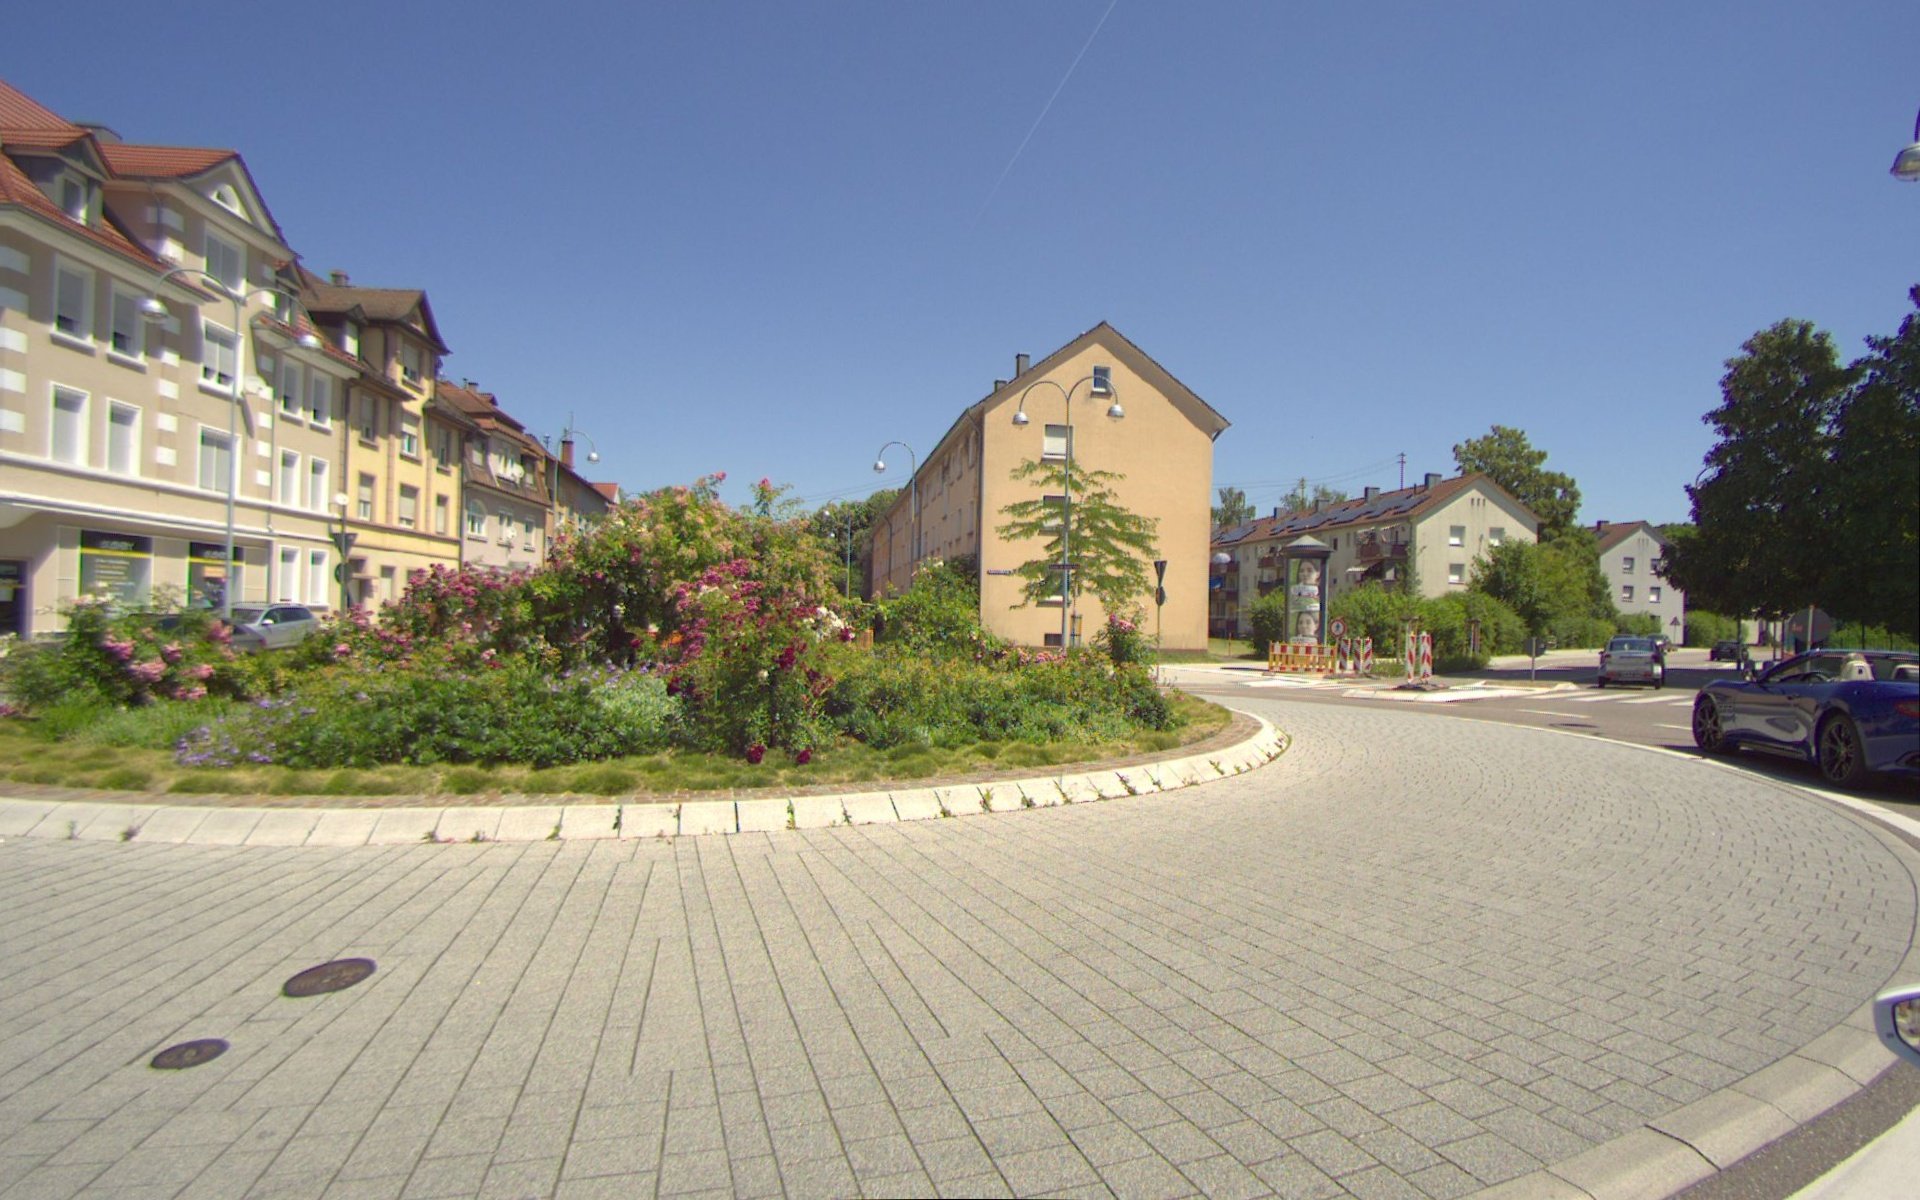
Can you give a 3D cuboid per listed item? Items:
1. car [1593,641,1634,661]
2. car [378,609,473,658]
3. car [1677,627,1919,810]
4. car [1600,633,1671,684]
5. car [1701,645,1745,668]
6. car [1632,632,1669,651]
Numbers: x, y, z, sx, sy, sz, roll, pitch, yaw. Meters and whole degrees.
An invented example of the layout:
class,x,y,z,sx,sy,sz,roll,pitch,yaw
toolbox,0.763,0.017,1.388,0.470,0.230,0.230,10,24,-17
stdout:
class,x,y,z,sx,sy,sz,roll,pitch,yaw
car,48.943,3.791,75.184,3.683,1.455,1.723,1,-2,-42
car,-19.945,1.223,37.662,1.574,1.638,4.088,4,-1,-5
car,9.493,1.147,10.492,1.839,1.550,4.510,2,-3,16
car,21.081,1.780,31.431,1.715,1.455,3.701,-1,-2,33
car,50.573,3.710,66.530,3.684,1.455,1.722,1,-2,-43
car,56.820,3.408,82.646,3.683,1.455,1.723,1,-2,-42
